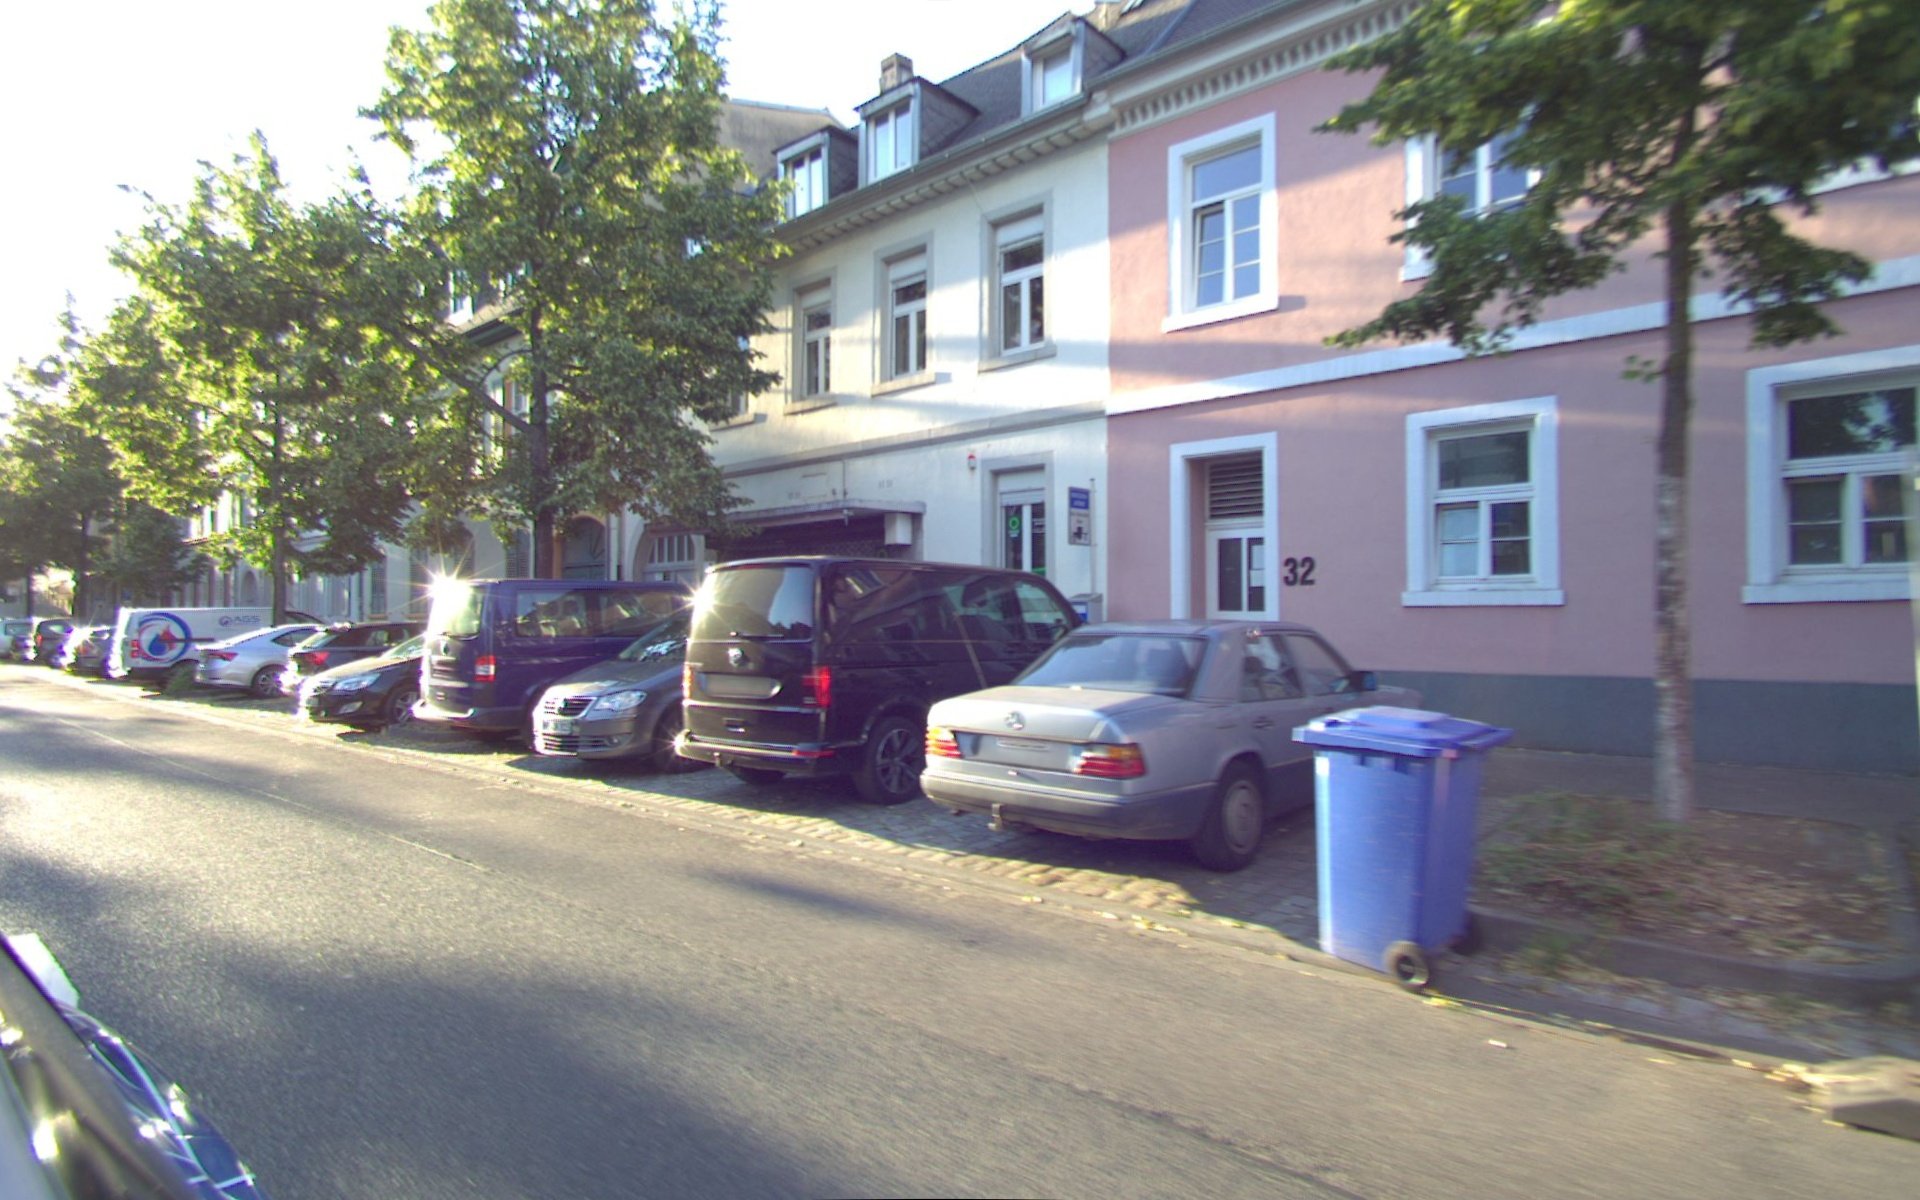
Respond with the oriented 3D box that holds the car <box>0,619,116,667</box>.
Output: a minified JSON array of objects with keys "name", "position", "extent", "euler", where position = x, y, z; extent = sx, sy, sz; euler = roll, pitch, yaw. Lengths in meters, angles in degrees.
[{"name":"car","position":[-40.007,1.842,44.350],"extent":[1.919,1.968,4.450],"euler":[-2,-1,43]}]

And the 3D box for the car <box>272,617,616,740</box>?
[{"name":"car","position":[-7.628,1.064,15.350],"extent":[1.838,1.512,4.287],"euler":[-2,-1,36]}]

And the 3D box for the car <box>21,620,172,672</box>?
[{"name":"car","position":[-32.094,1.663,37.702],"extent":[1.807,1.820,4.093],"euler":[-2,-2,43]}]

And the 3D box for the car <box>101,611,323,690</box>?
[{"name":"car","position":[-19.368,1.248,26.358],"extent":[1.893,1.884,4.381],"euler":[-2,-2,42]}]

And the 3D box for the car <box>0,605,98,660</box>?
[{"name":"car","position":[-47.794,1.655,51.590],"extent":[2.170,2.641,5.600],"euler":[-2,-1,41]}]

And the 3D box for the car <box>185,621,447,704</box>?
[{"name":"car","position":[-13.580,1.240,21.538],"extent":[1.734,1.496,4.429],"euler":[-2,-1,43]}]

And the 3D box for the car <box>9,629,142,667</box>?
[{"name":"car","position":[-37.490,2.013,42.982],"extent":[1.593,1.450,4.107],"euler":[-2,-1,42]}]

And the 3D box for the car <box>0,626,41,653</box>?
[{"name":"car","position":[-56.519,2.367,59.023],"extent":[1.969,1.494,4.143],"euler":[-2,0,40]}]

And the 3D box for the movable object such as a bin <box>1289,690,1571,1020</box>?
[{"name":"movable object such as a bin","position":[1.938,0.965,4.194],"extent":[0.883,1.113,0.682],"euler":[-2,-3,43]}]

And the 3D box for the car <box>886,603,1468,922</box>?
[{"name":"car","position":[1.810,0.800,7.133],"extent":[1.893,1.481,4.543],"euler":[-2,-1,44]}]

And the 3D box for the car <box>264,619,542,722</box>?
[{"name":"car","position":[-9.664,1.146,17.729],"extent":[1.905,1.512,3.879],"euler":[-2,-1,43]}]

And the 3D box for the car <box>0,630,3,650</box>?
[{"name":"car","position":[-71.437,2.932,72.287],"extent":[1.821,1.434,4.337],"euler":[-2,0,41]}]

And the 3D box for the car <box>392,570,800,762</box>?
[{"name":"car","position":[-4.433,0.706,12.855],"extent":[2.068,1.991,4.436],"euler":[-2,-1,42]}]

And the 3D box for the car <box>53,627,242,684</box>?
[{"name":"car","position":[-23.505,1.549,29.374],"extent":[1.962,1.495,3.995],"euler":[-2,-2,41]}]

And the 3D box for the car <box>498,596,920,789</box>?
[{"name":"car","position":[-2.527,0.819,10.932],"extent":[1.860,1.649,4.086],"euler":[-2,-1,42]}]

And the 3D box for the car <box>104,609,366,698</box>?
[{"name":"car","position":[-17.353,1.211,24.436],"extent":[1.973,1.922,4.819],"euler":[-2,-2,41]}]

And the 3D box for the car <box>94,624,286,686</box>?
[{"name":"car","position":[-21.328,1.462,28.124],"extent":[1.965,1.567,3.992],"euler":[-2,-2,43]}]

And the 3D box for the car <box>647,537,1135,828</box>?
[{"name":"car","position":[-0.373,0.572,9.294],"extent":[1.963,1.991,4.439],"euler":[-2,-1,39]}]
